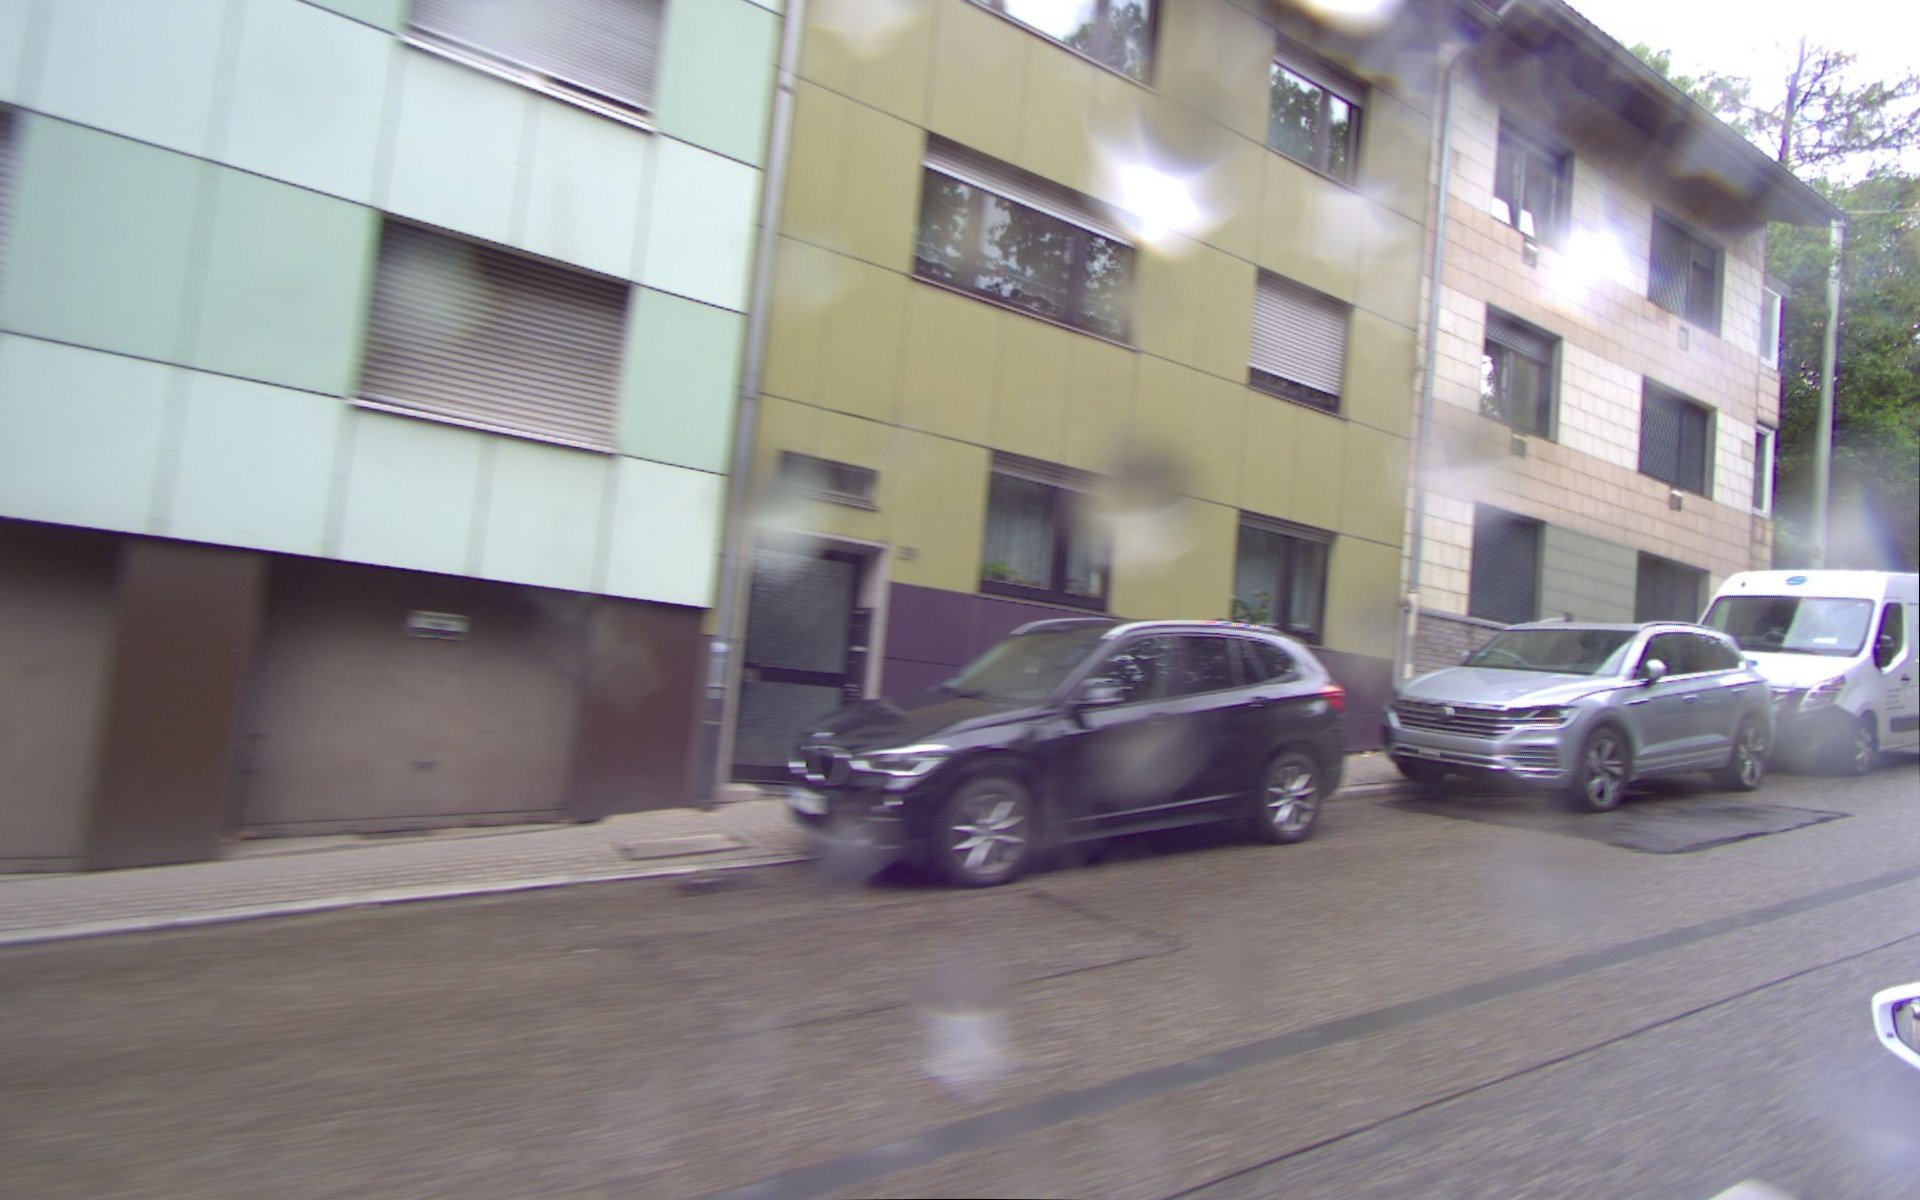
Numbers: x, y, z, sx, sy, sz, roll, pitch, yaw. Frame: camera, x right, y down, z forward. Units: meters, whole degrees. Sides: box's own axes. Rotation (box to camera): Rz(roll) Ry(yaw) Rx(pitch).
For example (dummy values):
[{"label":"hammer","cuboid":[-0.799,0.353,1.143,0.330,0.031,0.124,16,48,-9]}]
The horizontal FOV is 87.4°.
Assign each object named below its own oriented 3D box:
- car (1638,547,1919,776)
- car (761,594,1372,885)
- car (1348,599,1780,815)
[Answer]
[{"label":"car","cuboid":[11.547,0.751,13.373,5.718,2.507,1.980,1,-2,-31]},{"label":"car","cuboid":[0.877,0.836,7.528,4.256,1.606,1.980,1,-2,-31]},{"label":"car","cuboid":[6.254,0.948,10.297,4.429,1.778,1.980,1,-2,-31]}]
